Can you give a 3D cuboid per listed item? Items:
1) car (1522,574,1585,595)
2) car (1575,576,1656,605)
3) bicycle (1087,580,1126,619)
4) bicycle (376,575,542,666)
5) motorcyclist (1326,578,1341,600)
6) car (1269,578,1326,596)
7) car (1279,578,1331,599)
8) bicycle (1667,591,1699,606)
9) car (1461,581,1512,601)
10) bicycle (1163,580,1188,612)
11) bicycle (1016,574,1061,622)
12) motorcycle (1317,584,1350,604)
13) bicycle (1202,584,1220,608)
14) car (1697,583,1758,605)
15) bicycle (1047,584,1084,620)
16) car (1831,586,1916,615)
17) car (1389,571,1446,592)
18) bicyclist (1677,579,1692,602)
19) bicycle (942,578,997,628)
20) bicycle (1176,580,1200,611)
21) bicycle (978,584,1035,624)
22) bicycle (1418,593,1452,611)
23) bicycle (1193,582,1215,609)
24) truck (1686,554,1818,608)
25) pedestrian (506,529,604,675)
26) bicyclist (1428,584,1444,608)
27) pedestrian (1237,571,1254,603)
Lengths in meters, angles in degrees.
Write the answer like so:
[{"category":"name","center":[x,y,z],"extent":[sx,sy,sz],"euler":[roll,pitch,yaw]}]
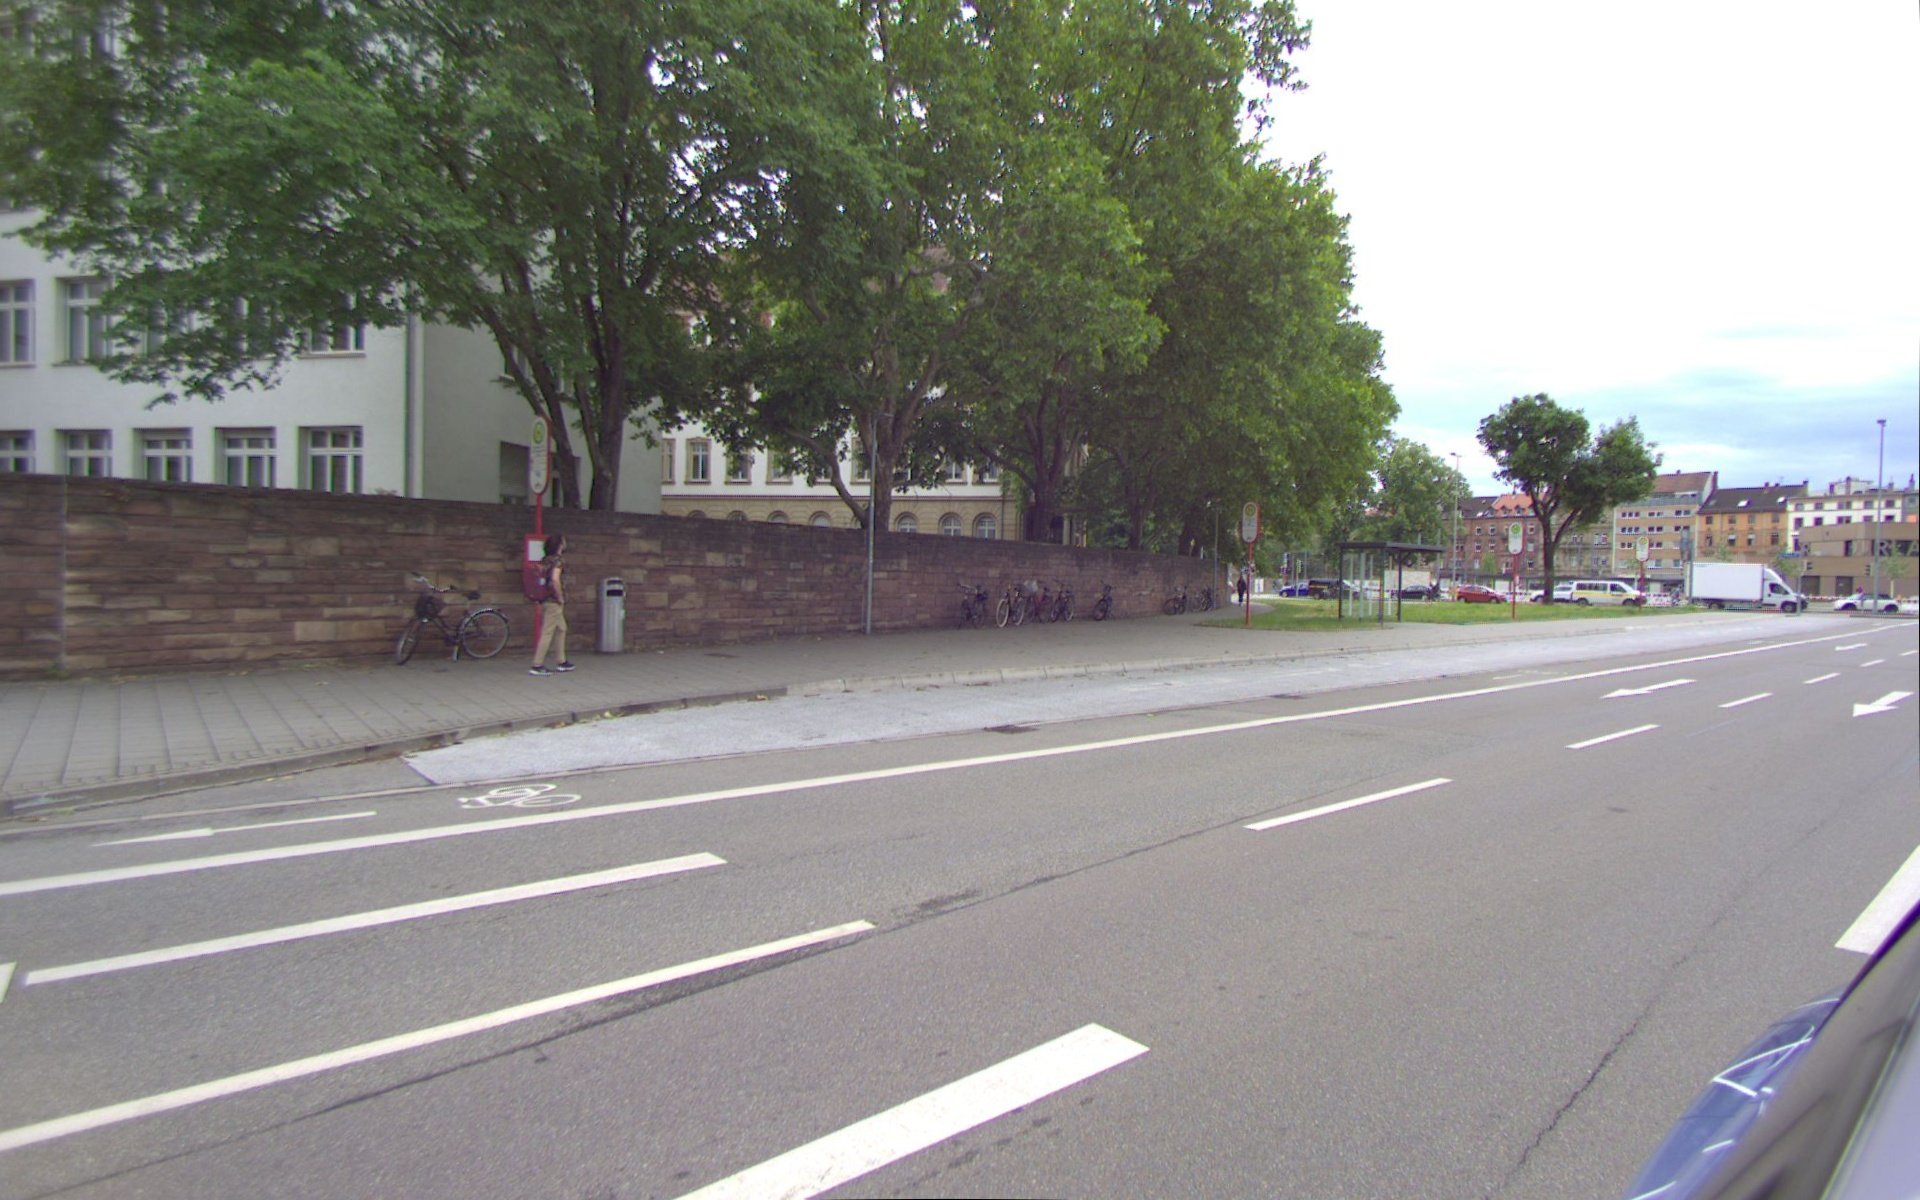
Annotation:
[{"category":"car","center":[48.200,-1.243,82.180],"extent":[1.790,1.493,4.024],"euler":[0,3,-44]},{"category":"car","center":[48.350,-0.733,74.743],"extent":[1.890,1.942,4.704],"euler":[-4,4,-44]},{"category":"bicycle","center":[4.440,-0.041,30.617],"extent":[0.593,1.118,1.638],"euler":[3,2,29]},{"category":"bicycle","center":[-6.959,0.244,14.135],"extent":[0.845,1.141,1.900],"euler":[4,3,34]},{"category":"motorcyclist","center":[32.409,-0.980,87.744],"extent":[0.912,1.851,0.917],"euler":[4,2,37]},{"category":"car","center":[30.447,-1.205,91.287],"extent":[4.504,1.430,1.874],"euler":[4,3,36]},{"category":"car","center":[33.348,-1.103,97.978],"extent":[4.416,1.767,1.738],"euler":[4,3,42]},{"category":"bicycle","center":[49.771,-0.106,69.683],"extent":[1.687,0.926,0.757],"euler":[4,3,39]},{"category":"car","center":[42.335,-0.736,81.437],"extent":[3.422,1.399,1.266],"euler":[2,-6,44]},{"category":"bicycle","center":[8.128,-0.163,38.157],"extent":[0.589,1.150,1.700],"euler":[3,2,23]},{"category":"bicycle","center":[2.125,-0.072,27.308],"extent":[0.496,1.236,1.609],"euler":[3,2,31]},{"category":"motorcycle","center":[32.402,-0.544,87.769],"extent":[2.501,1.621,0.917],"euler":[4,3,37]},{"category":"bicycle","center":[11.010,-0.196,44.353],"extent":[0.544,1.004,1.626],"euler":[3,2,20]},{"category":"car","center":[55.820,-0.456,73.691],"extent":[3.411,1.407,1.500],"euler":[4,3,36]},{"category":"bicycle","center":[3.021,0.047,28.798],"extent":[0.414,0.954,1.508],"euler":[3,2,31]},{"category":"car","center":[62.962,0.012,69.808],"extent":[3.864,1.785,1.828],"euler":[3,2,21]},{"category":"car","center":[40.456,-1.616,89.577],"extent":[1.659,1.657,4.283],"euler":[1,3,-40]},{"category":"bicyclist","center":[49.830,-0.664,69.647],"extent":[0.737,1.526,0.757],"euler":[4,2,39]},{"category":"bicycle","center":[0.245,0.054,24.117],"extent":[0.712,1.113,1.781],"euler":[3,2,20]},{"category":"bicycle","center":[8.953,-0.201,39.672],"extent":[0.589,1.143,1.700],"euler":[3,2,23]},{"category":"bicycle","center":[1.204,0.089,25.754],"extent":[0.650,0.963,1.751],"euler":[3,2,31]},{"category":"bicycle","center":[38.273,0.149,81.559],"extent":[2.384,1.340,0.753],"euler":[4,3,44]},{"category":"bicycle","center":[10.323,-0.202,42.783],"extent":[0.589,1.072,1.700],"euler":[3,2,23]},{"category":"truck","center":[53.830,-1.323,68.934],"extent":[6.835,3.453,2.520],"euler":[1,3,45]},{"category":"pedestrian","center":[-5.334,0.014,13.333],"extent":[1.014,1.844,0.632],"euler":[1,2,-41]},{"category":"bicyclist","center":[38.345,-0.347,81.500],"extent":[0.893,1.883,0.753],"euler":[4,3,43]},{"category":"pedestrian","center":[16.119,-0.765,57.092],"extent":[0.745,1.756,0.821],"euler":[3,2,10]}]
